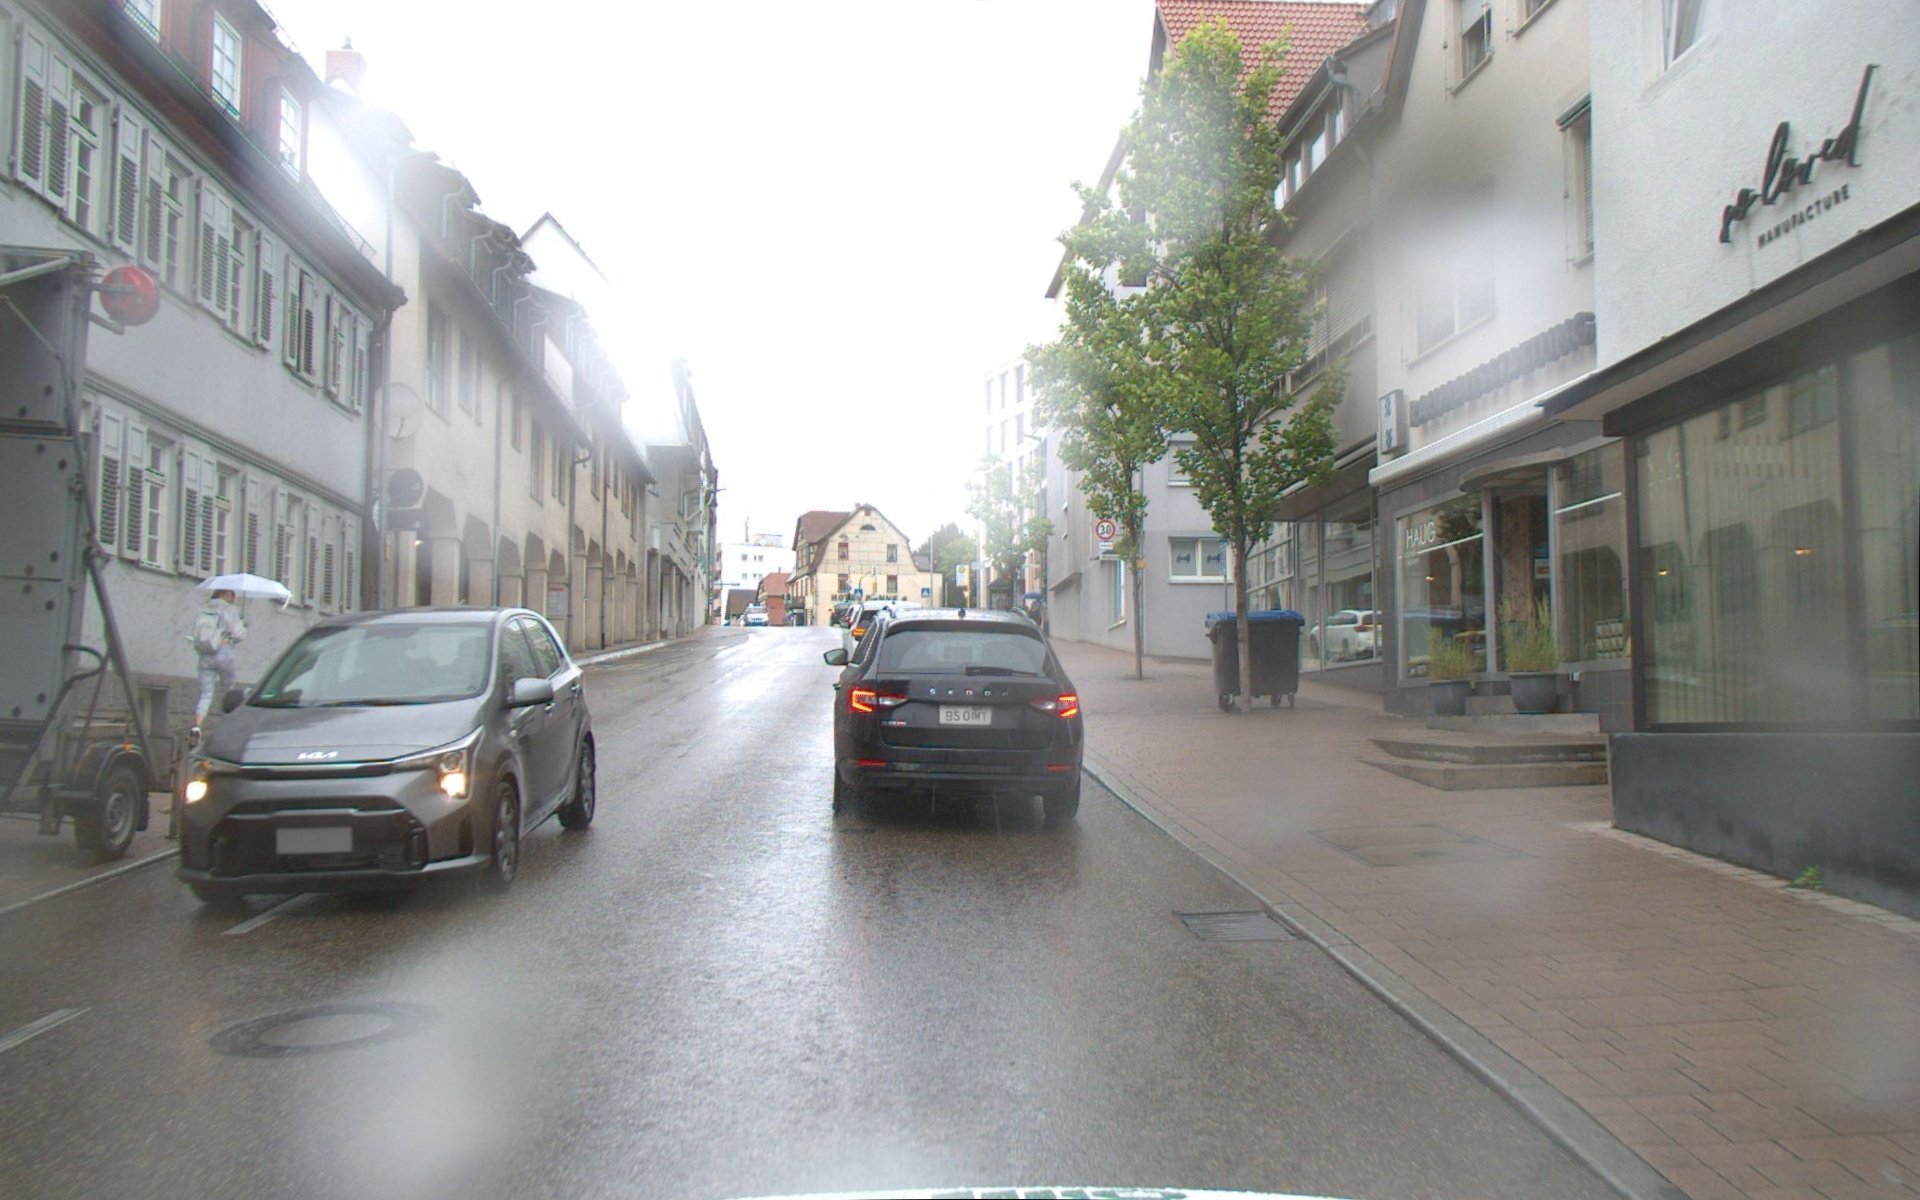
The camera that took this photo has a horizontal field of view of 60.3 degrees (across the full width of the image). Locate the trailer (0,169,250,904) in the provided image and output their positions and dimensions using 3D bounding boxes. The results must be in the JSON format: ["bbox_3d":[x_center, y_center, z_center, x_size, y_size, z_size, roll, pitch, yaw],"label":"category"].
[{"bbox_3d":[-5.698,-0.317,8.778,1.953,3.595,4.573,1,0,-2],"label":"trailer"}]

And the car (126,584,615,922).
[{"bbox_3d":[-3.120,0.718,9.559,1.738,1.561,3.707,1,0,-5],"label":"car"}]

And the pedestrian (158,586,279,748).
[{"bbox_3d":[-7.471,0.655,16.706,0.693,1.557,1.045,2,0,0],"label":"pedestrian"}]

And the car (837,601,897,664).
[{"bbox_3d":[-2.745,0.982,48.077,1.596,1.557,3.994,0,-5,-6],"label":"car"}]

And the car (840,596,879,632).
[{"bbox_3d":[-4.724,0.628,77.300,1.670,1.579,3.602,1,1,-6],"label":"car"}]

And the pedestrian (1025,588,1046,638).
[{"bbox_3d":[2.687,0.466,58.843,0.690,1.755,0.832,1,0,0],"label":"pedestrian"}]

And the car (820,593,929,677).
[{"bbox_3d":[-1.607,0.645,32.206,1.818,1.498,4.000,1,0,1],"label":"car"}]

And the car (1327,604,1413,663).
[{"bbox_3d":[12.017,1.017,48.661,1.606,1.516,3.445,0,-5,-1],"label":"car"}]

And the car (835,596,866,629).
[{"bbox_3d":[-6.944,0.812,105.119,1.954,2.049,3.997,0,0,-3],"label":"car"}]

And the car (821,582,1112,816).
[{"bbox_3d":[-0.016,0.641,12.801,1.848,1.473,4.355,1,0,-2],"label":"car"}]

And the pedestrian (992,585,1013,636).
[{"bbox_3d":[1.475,0.367,57.440,0.690,1.755,0.832,1,0,0],"label":"pedestrian"}]

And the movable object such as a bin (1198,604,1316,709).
[{"bbox_3d":[4.072,0.754,22.790,1.261,1.373,1.486,1,0,-4],"label":"movable object such as a bin"}]

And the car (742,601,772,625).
[{"bbox_3d":[-15.259,0.965,124.194,1.958,1.680,3.990,1,0,-11],"label":"car"}]

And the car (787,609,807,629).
[{"bbox_3d":[-13.210,1.549,134.021,1.596,1.557,3.995,1,0,-6],"label":"car"}]
